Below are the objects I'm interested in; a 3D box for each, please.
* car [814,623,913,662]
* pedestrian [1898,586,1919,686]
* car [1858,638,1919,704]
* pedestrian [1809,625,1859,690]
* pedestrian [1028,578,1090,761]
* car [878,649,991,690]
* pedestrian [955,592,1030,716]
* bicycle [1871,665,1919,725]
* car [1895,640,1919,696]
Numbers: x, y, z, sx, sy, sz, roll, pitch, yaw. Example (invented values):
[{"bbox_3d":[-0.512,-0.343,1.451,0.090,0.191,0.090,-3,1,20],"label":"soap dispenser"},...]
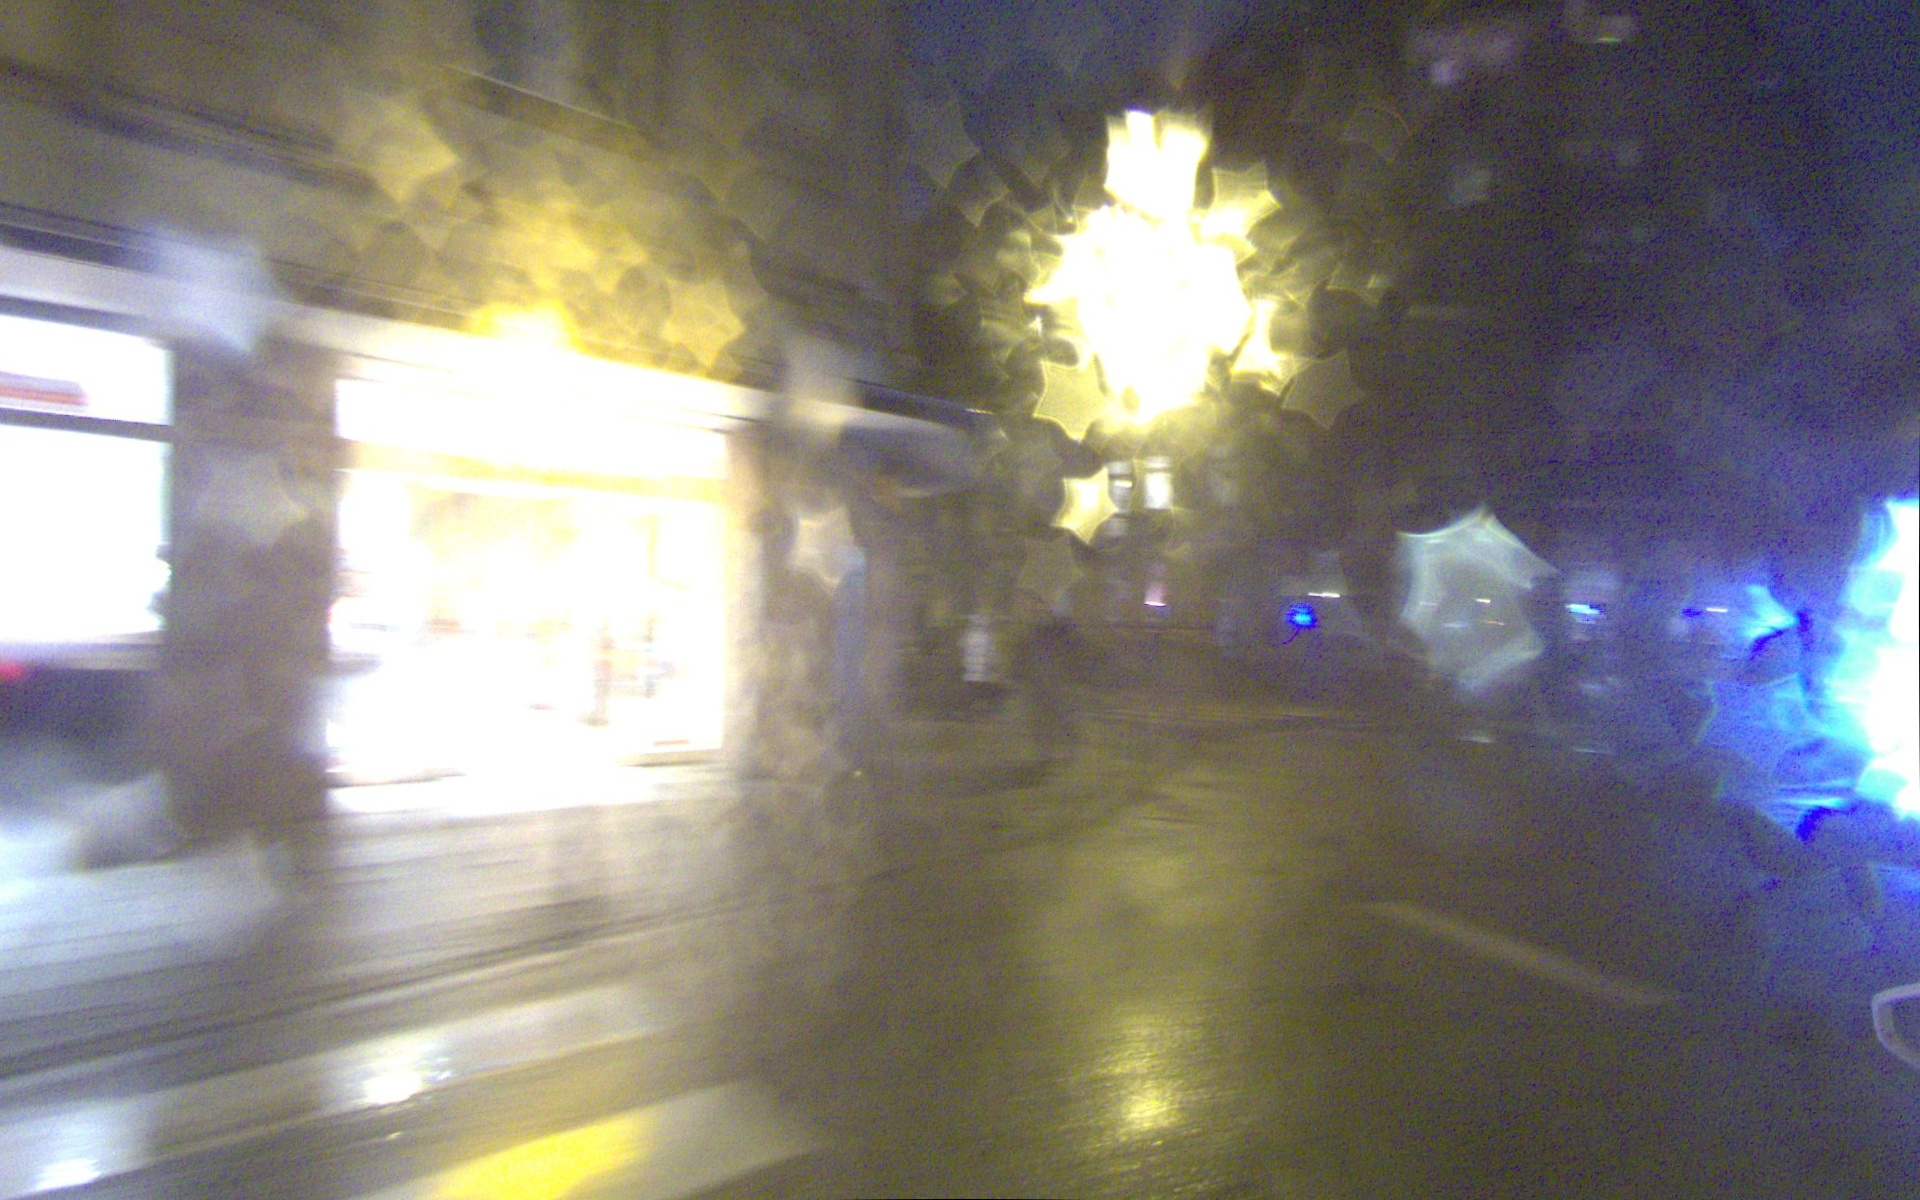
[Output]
[{"bbox_3d":[-3.649,1.613,38.195,3.430,1.422,1.575,2,-3,-38],"label":"car"},{"bbox_3d":[18.082,0.667,18.535,1.110,1.835,0.710,0,-1,44],"label":"pedestrian"},{"bbox_3d":[24.291,1.776,25.506,3.990,1.483,1.573,2,2,-40],"label":"car"},{"bbox_3d":[25.026,1.636,28.759,1.005,1.789,0.799,3,0,-34],"label":"pedestrian"},{"bbox_3d":[1.075,0.738,10.979,0.641,1.934,0.629,0,-1,4],"label":"pedestrian"},{"bbox_3d":[-0.842,2.322,34.281,3.688,1.292,1.574,2,-3,-38],"label":"car"},{"bbox_3d":[0.506,0.849,15.862,0.934,1.882,0.794,1,-3,-27],"label":"pedestrian"},{"bbox_3d":[18.037,1.770,18.545,1.777,1.073,0.710,0,-1,44],"label":"bicycle"},{"bbox_3d":[28.071,1.949,28.757,2.764,1.530,1.573,2,-1,-40],"label":"car"}]
